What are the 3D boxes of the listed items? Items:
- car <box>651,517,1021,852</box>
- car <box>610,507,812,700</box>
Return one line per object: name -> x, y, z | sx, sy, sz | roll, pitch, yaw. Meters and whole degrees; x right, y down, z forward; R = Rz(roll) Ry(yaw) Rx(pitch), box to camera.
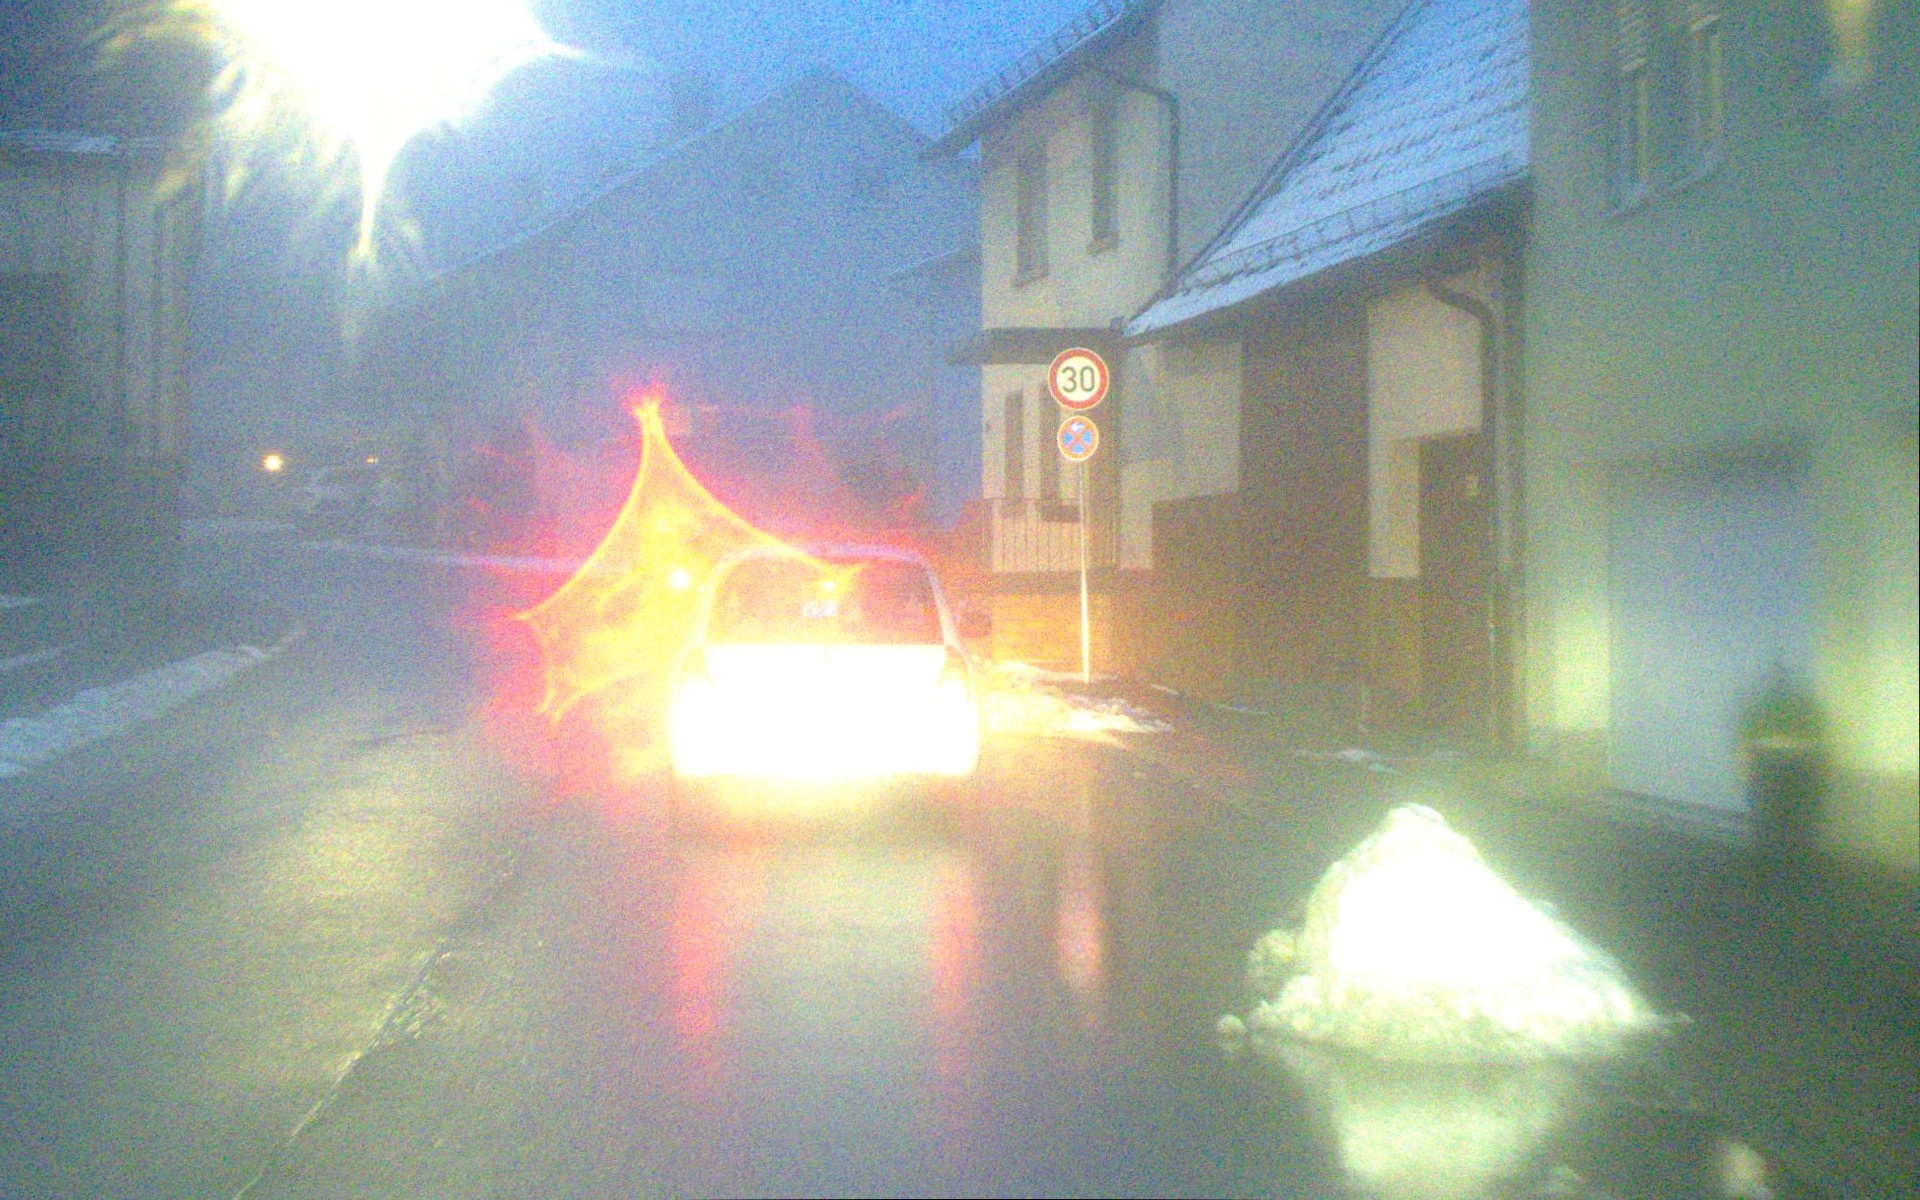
car -> -0.759, 0.410, 18.503 | 1.645, 1.590, 3.700 | 1, 0, -7
car -> -2.287, 0.029, 30.918 | 1.645, 1.590, 3.700 | 1, 0, -6
